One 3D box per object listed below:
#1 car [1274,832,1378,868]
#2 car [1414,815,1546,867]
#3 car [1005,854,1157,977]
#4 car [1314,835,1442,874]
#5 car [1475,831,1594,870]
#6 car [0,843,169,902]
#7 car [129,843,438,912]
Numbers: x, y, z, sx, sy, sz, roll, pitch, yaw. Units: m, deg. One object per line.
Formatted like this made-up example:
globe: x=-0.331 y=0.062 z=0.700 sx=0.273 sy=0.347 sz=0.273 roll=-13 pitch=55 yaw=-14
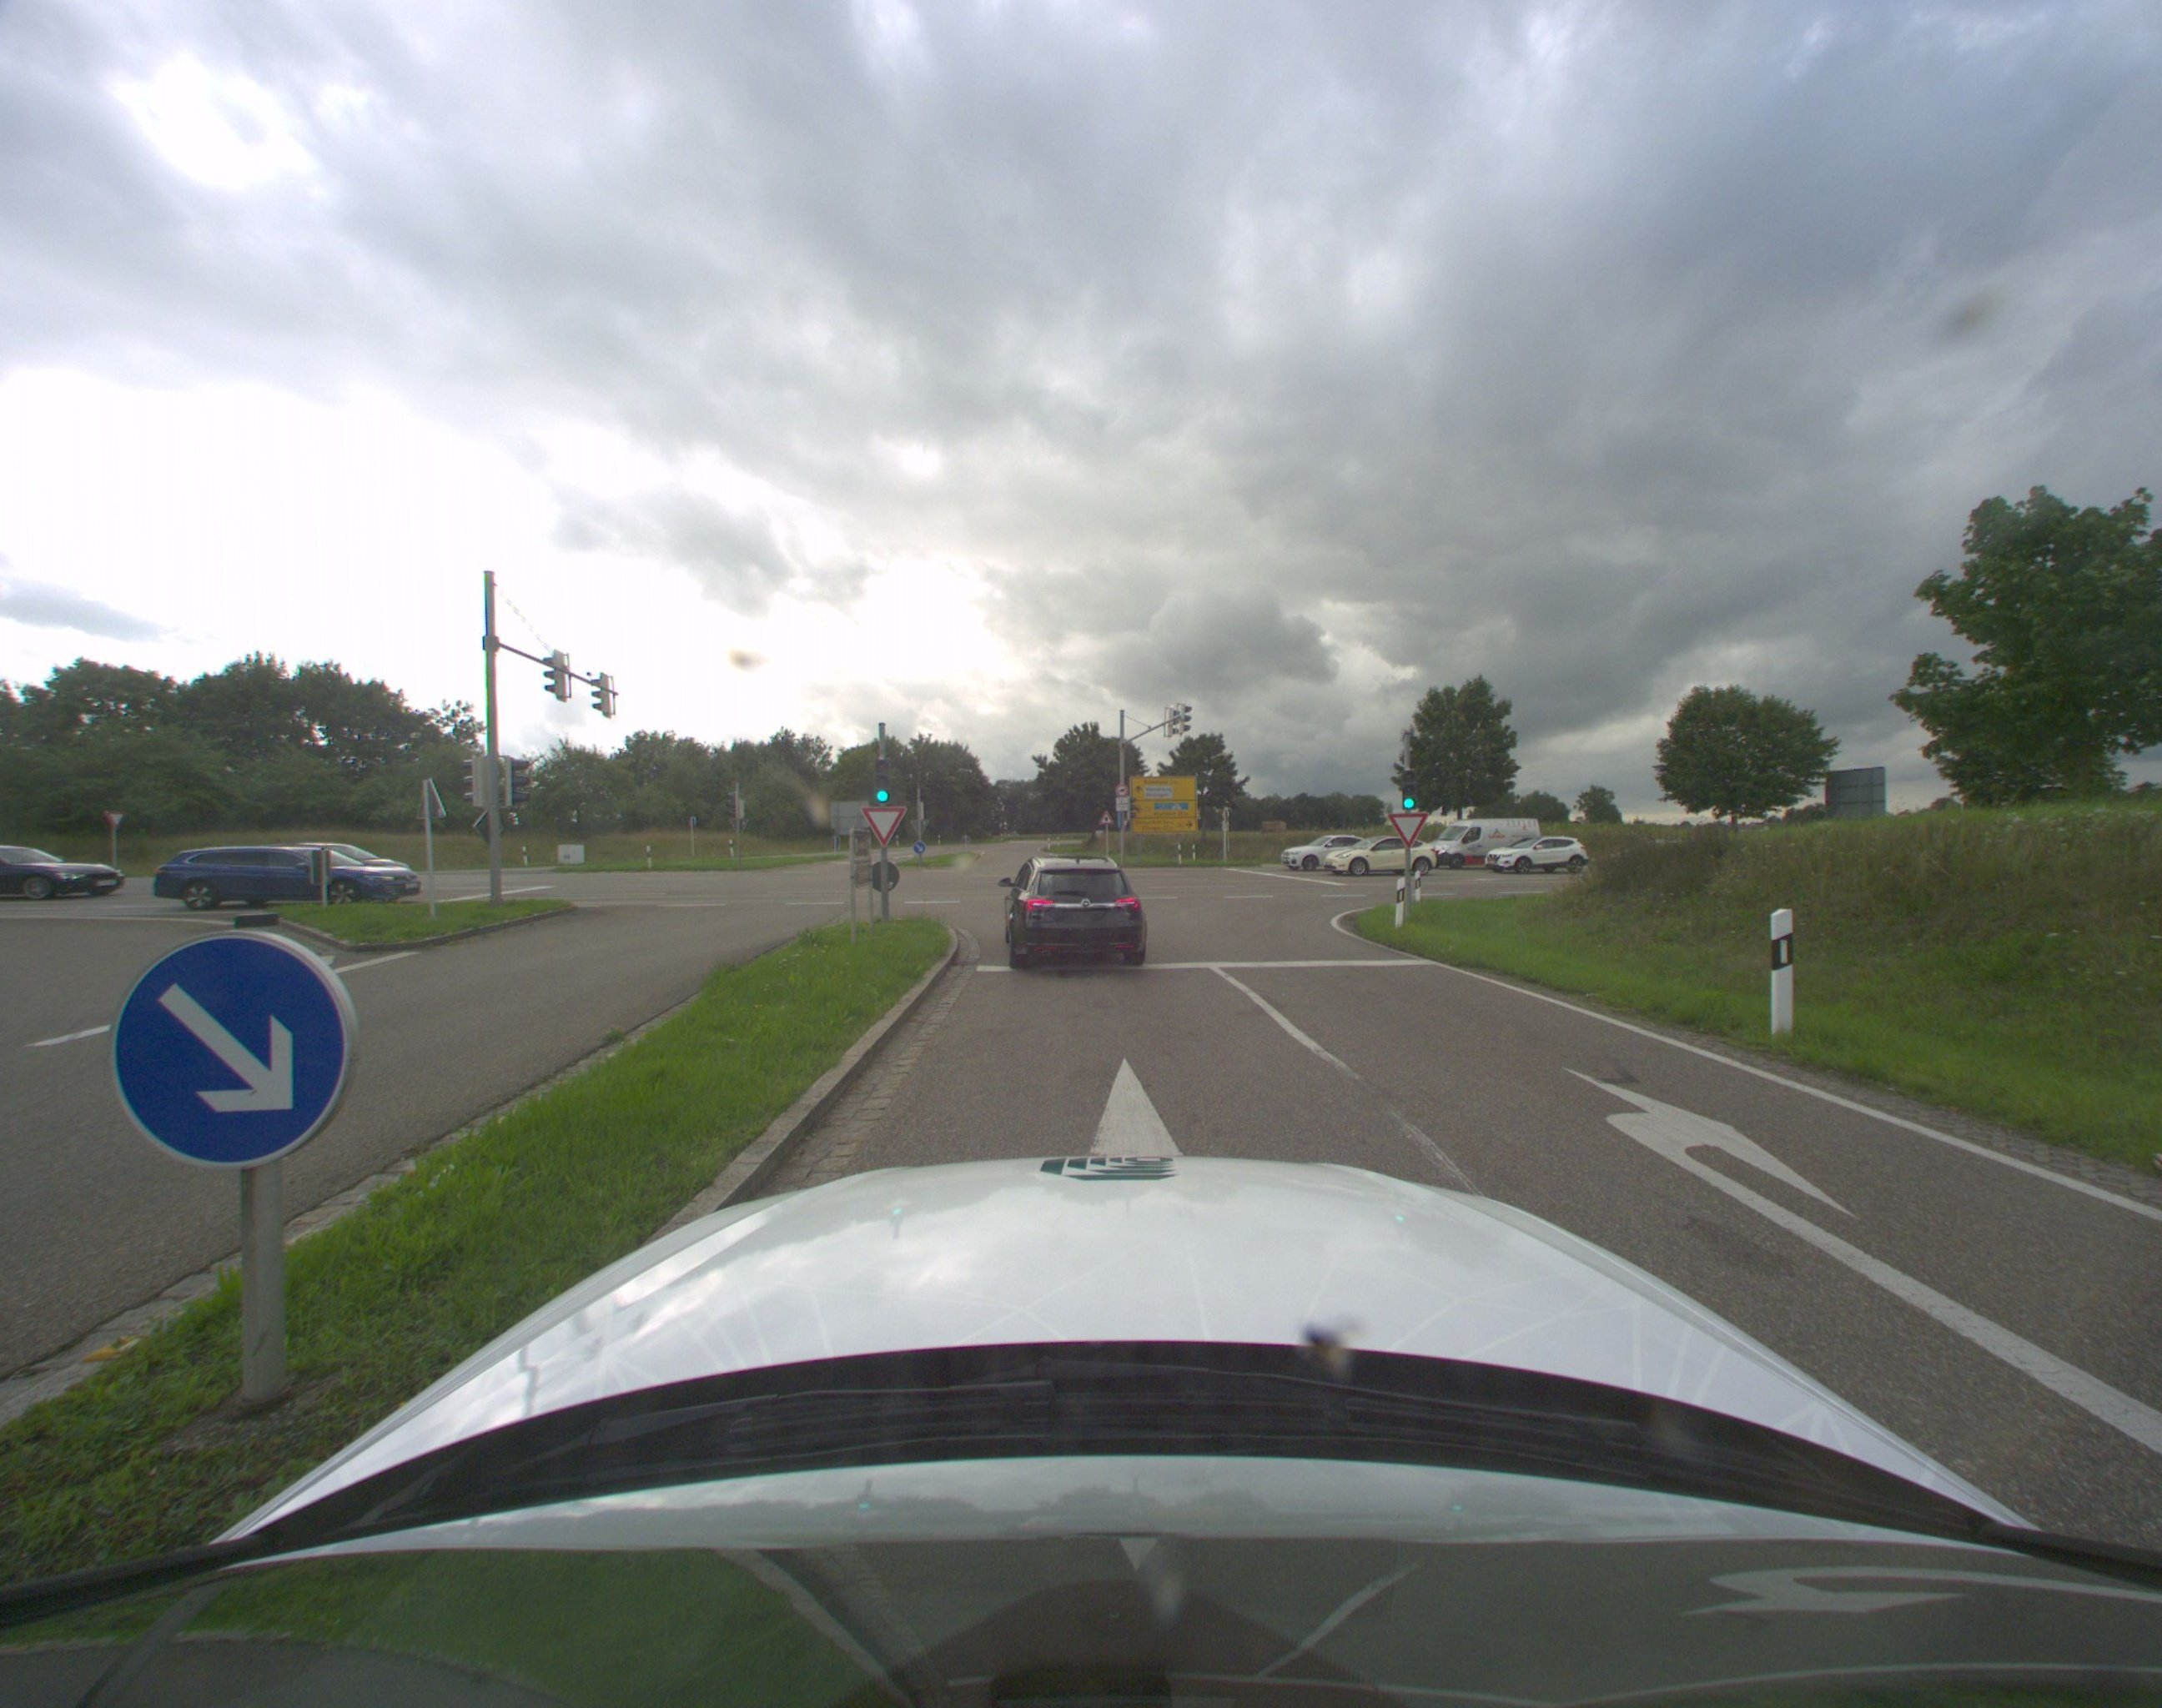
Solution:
car: x=11.405 y=-0.201 z=38.006 sx=4.262 sy=1.629 sz=1.993 roll=0 pitch=0 yaw=-11
car: x=19.494 y=-0.622 z=39.898 sx=5.494 sy=2.441 sz=2.390 roll=0 pitch=0 yaw=-10
car: x=-0.184 y=0.733 z=11.958 sx=1.805 sy=1.450 sz=4.264 roll=0 pitch=0 yaw=-6
car: x=12.445 y=0.008 z=34.226 sx=4.734 sy=1.564 sz=1.993 roll=0 pitch=0 yaw=-11
car: x=19.927 y=-0.152 z=35.867 sx=4.309 sy=1.629 sz=1.993 roll=0 pitch=0 yaw=-10
car: x=-28.756 y=0.471 z=22.185 sx=4.869 sy=1.483 sz=2.047 roll=0 pitch=2 yaw=-12
car: x=-19.568 y=0.512 z=20.286 sx=5.115 sy=1.534 sz=2.043 roll=0 pitch=1 yaw=-13
